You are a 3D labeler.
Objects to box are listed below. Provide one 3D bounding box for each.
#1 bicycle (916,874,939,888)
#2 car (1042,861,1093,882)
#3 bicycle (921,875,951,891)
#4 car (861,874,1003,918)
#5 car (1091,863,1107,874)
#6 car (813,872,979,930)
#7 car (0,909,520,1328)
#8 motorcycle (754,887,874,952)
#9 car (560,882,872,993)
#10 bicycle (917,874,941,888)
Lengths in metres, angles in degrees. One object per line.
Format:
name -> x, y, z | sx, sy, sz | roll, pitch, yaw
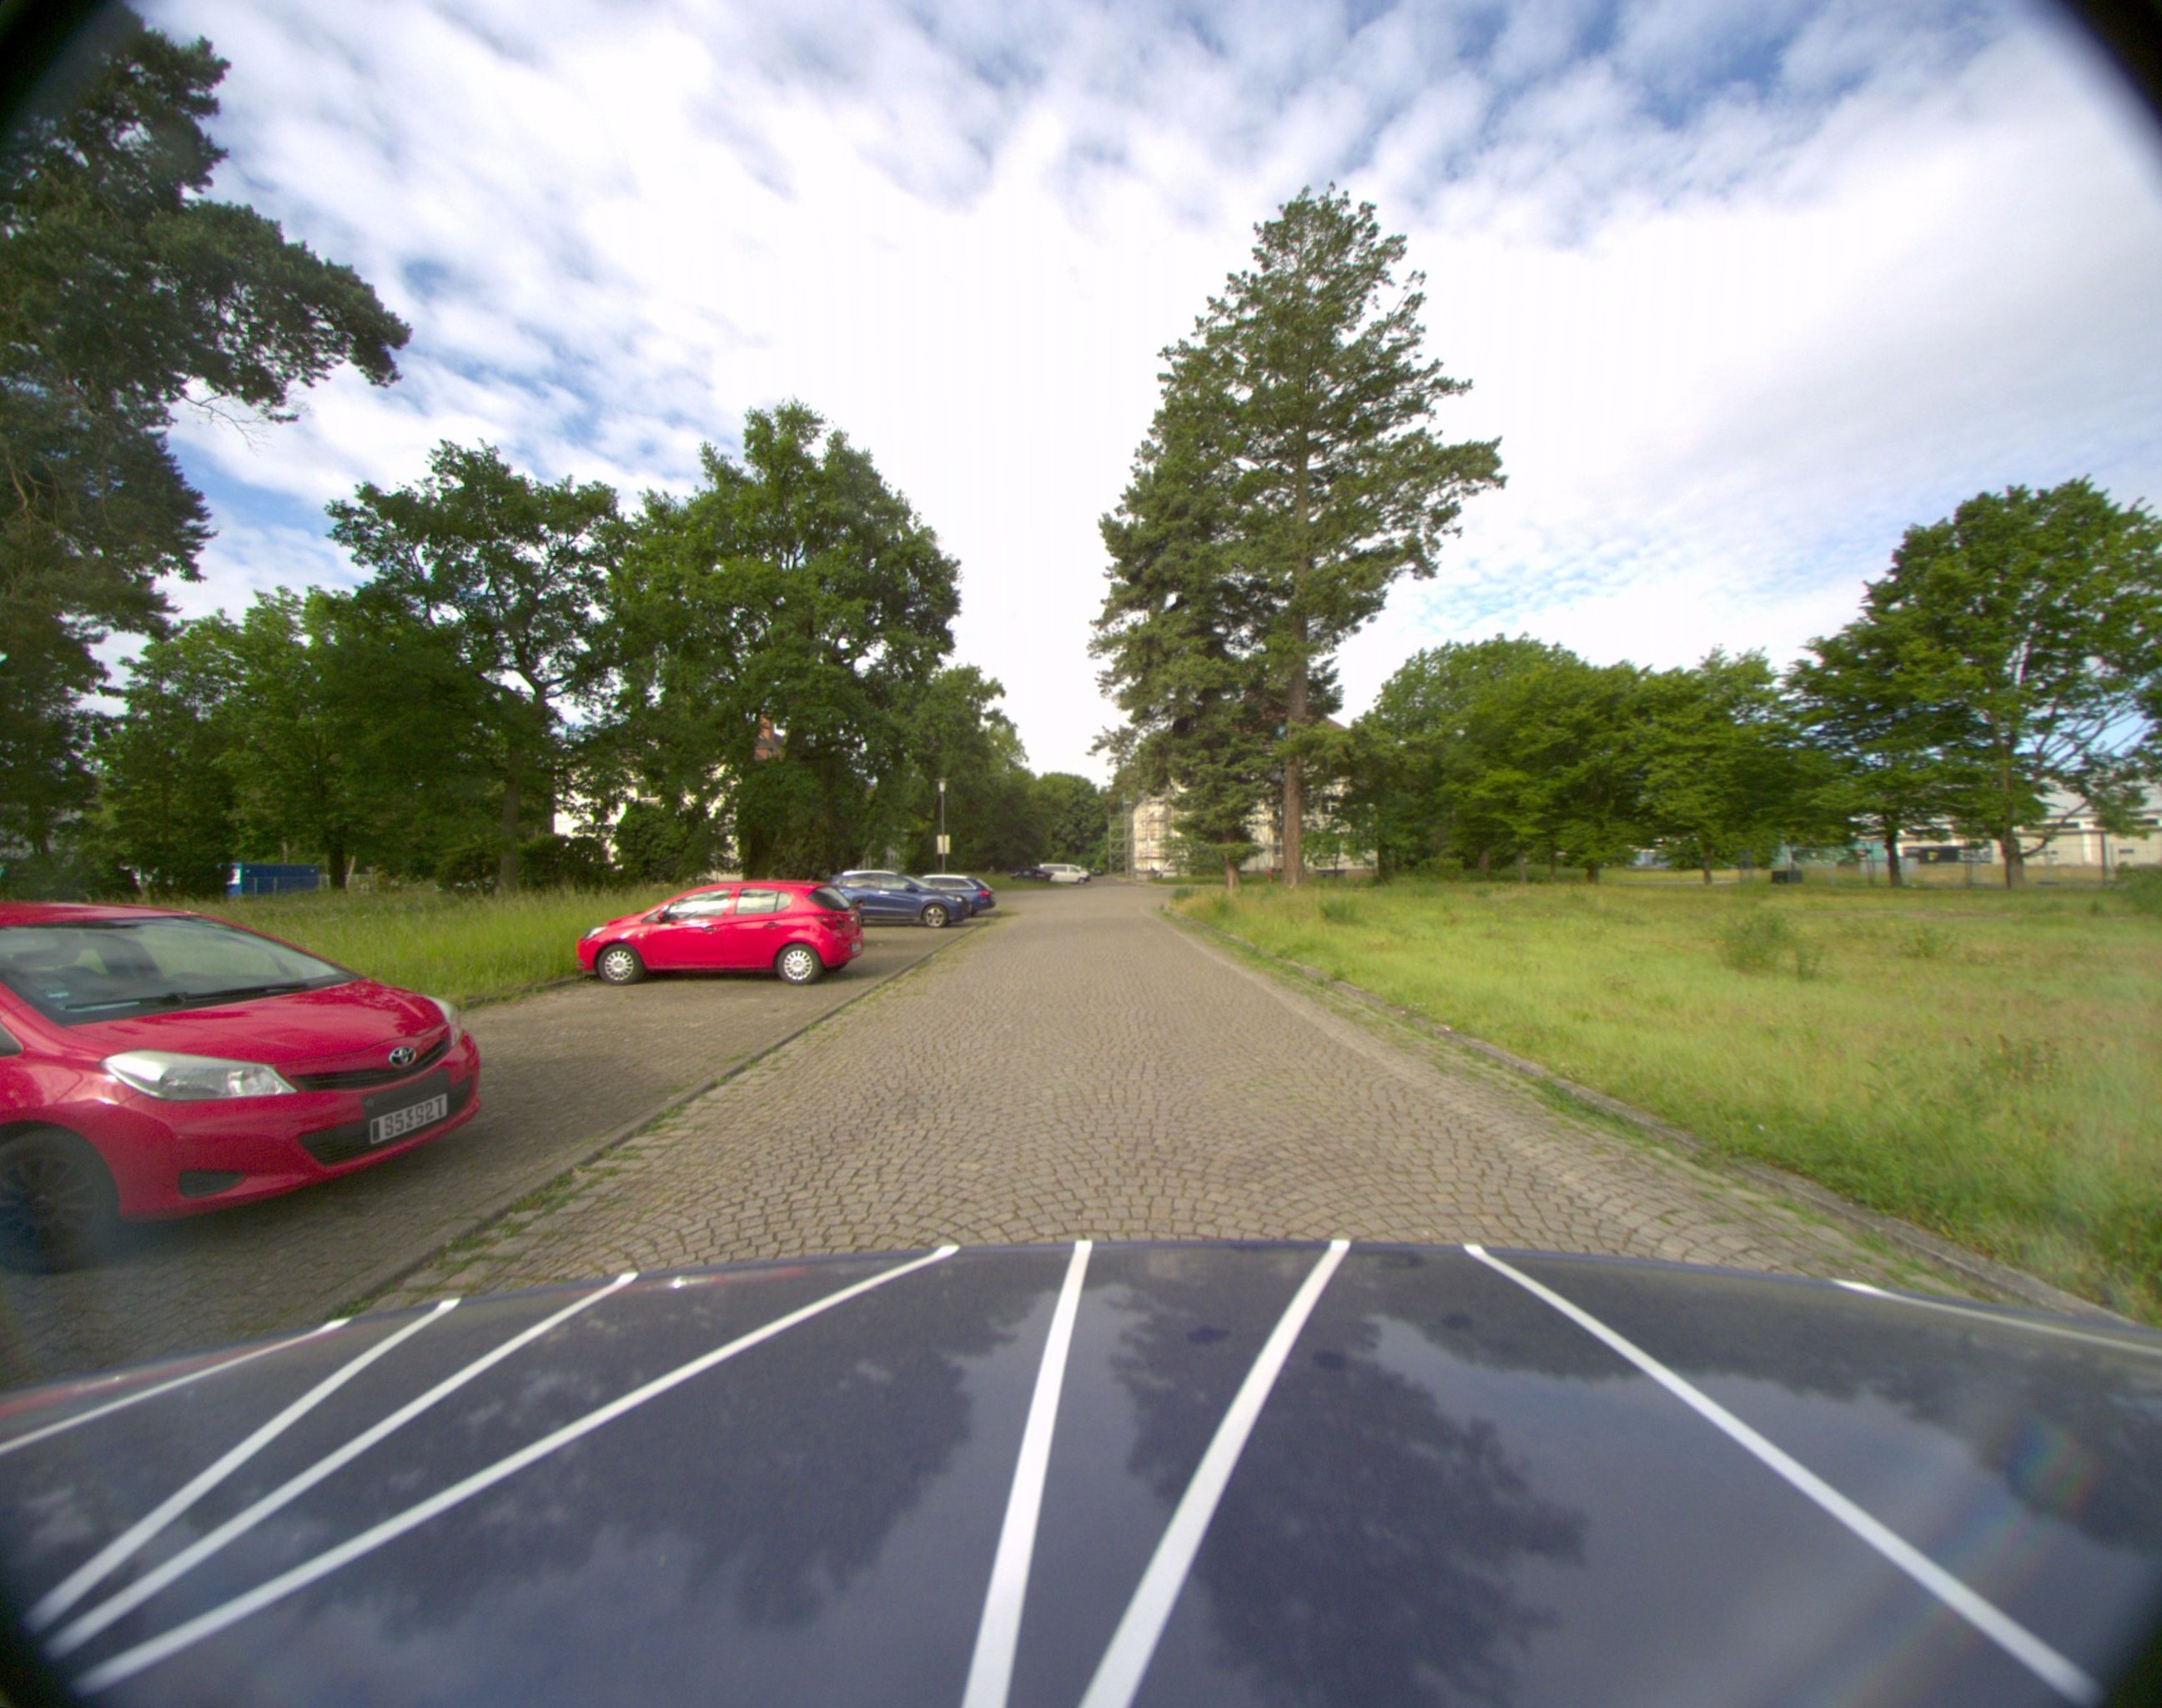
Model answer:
bicycle -> -12.357, 2.174, 61.078 | 1.753, 1.082, 0.552 | 0, 2, -22
car -> -1.383, 1.716, 75.248 | 4.916, 1.982, 2.000 | -1, -1, -3
bicycle -> -10.464, 2.094, 54.892 | 2.020, 1.082, 0.478 | 0, 2, -22
car -> -5.114, 1.438, 26.516 | 4.515, 1.456, 1.896 | 0, -1, 3
car -> 3.345, 2.666, 141.823 | 2.029, 1.915, 3.997 | -1, -1, -11
car -> -5.190, 1.316, 21.735 | 4.274, 1.564, 1.895 | 0, -1, -1
car -> -5.476, 1.119, 3.811 | 3.997, 1.509, 1.738 | -1, -1, 0
motorcycle -> -5.537, 1.346, 15.852 | 2.271, 1.267, 0.605 | 0, 0, -5
car -> -5.297, 1.192, 11.428 | 3.849, 1.496, 1.738 | 0, -1, -1
bicycle -> -12.094, 2.161, 60.418 | 1.810, 1.082, 0.552 | 0, 2, -22
